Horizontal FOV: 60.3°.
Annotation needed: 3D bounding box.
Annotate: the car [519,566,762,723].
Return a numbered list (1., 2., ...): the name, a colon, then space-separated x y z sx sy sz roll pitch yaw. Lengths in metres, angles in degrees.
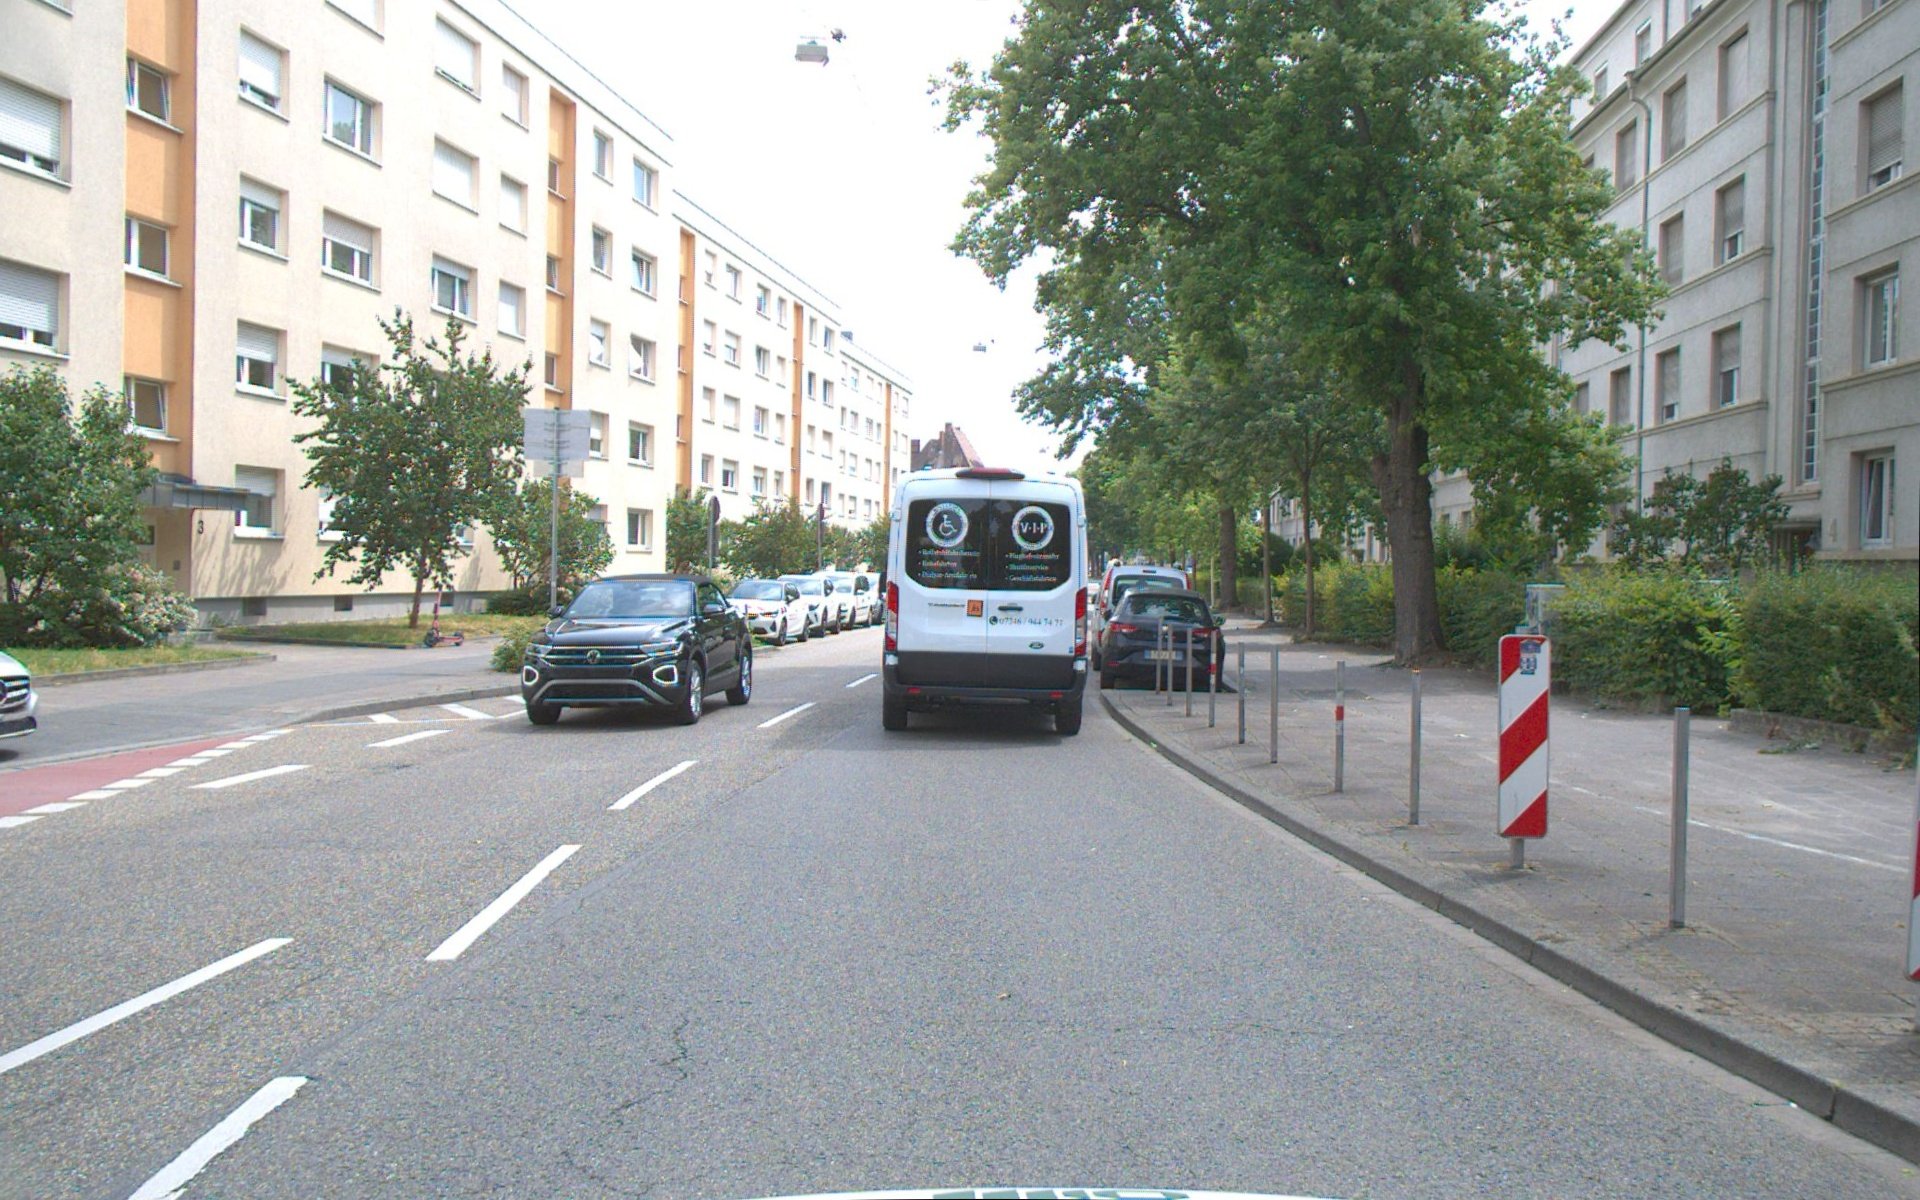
1. car: -3.393 0.402 18.299 1.661 1.544 4.002 0 1 4

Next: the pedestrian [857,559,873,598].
1. pedestrian: -4.555 -1.030 79.536 0.606 1.844 0.900 2 1 3

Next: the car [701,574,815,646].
1. car: -4.620 0.188 38.391 1.672 1.498 3.992 3 1 6

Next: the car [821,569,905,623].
1. car: -3.153 -0.159 54.710 1.901 1.640 4.865 3 1 6

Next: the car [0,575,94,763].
1. car: -9.808 0.452 13.917 4.083 1.475 1.851 4 1 8

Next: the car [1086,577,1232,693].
1. car: 2.872 0.439 24.127 1.877 1.469 4.242 2 1 6

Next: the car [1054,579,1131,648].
1. car: 3.075 0.270 38.911 1.662 1.475 4.103 2 1 3

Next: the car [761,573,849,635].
1. car: -4.043 0.073 43.655 1.673 1.498 3.991 3 1 3

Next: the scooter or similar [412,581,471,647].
1. scooter or similar: -9.822 0.258 31.363 0.393 1.214 1.291 3 1 16

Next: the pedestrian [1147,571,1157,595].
1. pedestrian: 14.943 -1.308 128.562 0.518 1.860 0.517 0 1 -36

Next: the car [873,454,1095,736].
1. car: 0.347 -0.065 17.516 2.027 2.584 4.637 0 0 3

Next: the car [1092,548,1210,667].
1. car: 3.431 0.088 29.951 1.877 1.898 4.850 3 1 6

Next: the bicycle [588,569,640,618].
1. bicycle: -9.423 -0.185 45.086 0.566 1.273 1.935 1 2 15

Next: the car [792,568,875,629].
1. car: -3.688 -0.063 49.034 1.661 1.640 4.480 3 1 5

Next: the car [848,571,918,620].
1. car: -2.765 -0.192 60.348 1.901 1.640 4.305 3 1 5
